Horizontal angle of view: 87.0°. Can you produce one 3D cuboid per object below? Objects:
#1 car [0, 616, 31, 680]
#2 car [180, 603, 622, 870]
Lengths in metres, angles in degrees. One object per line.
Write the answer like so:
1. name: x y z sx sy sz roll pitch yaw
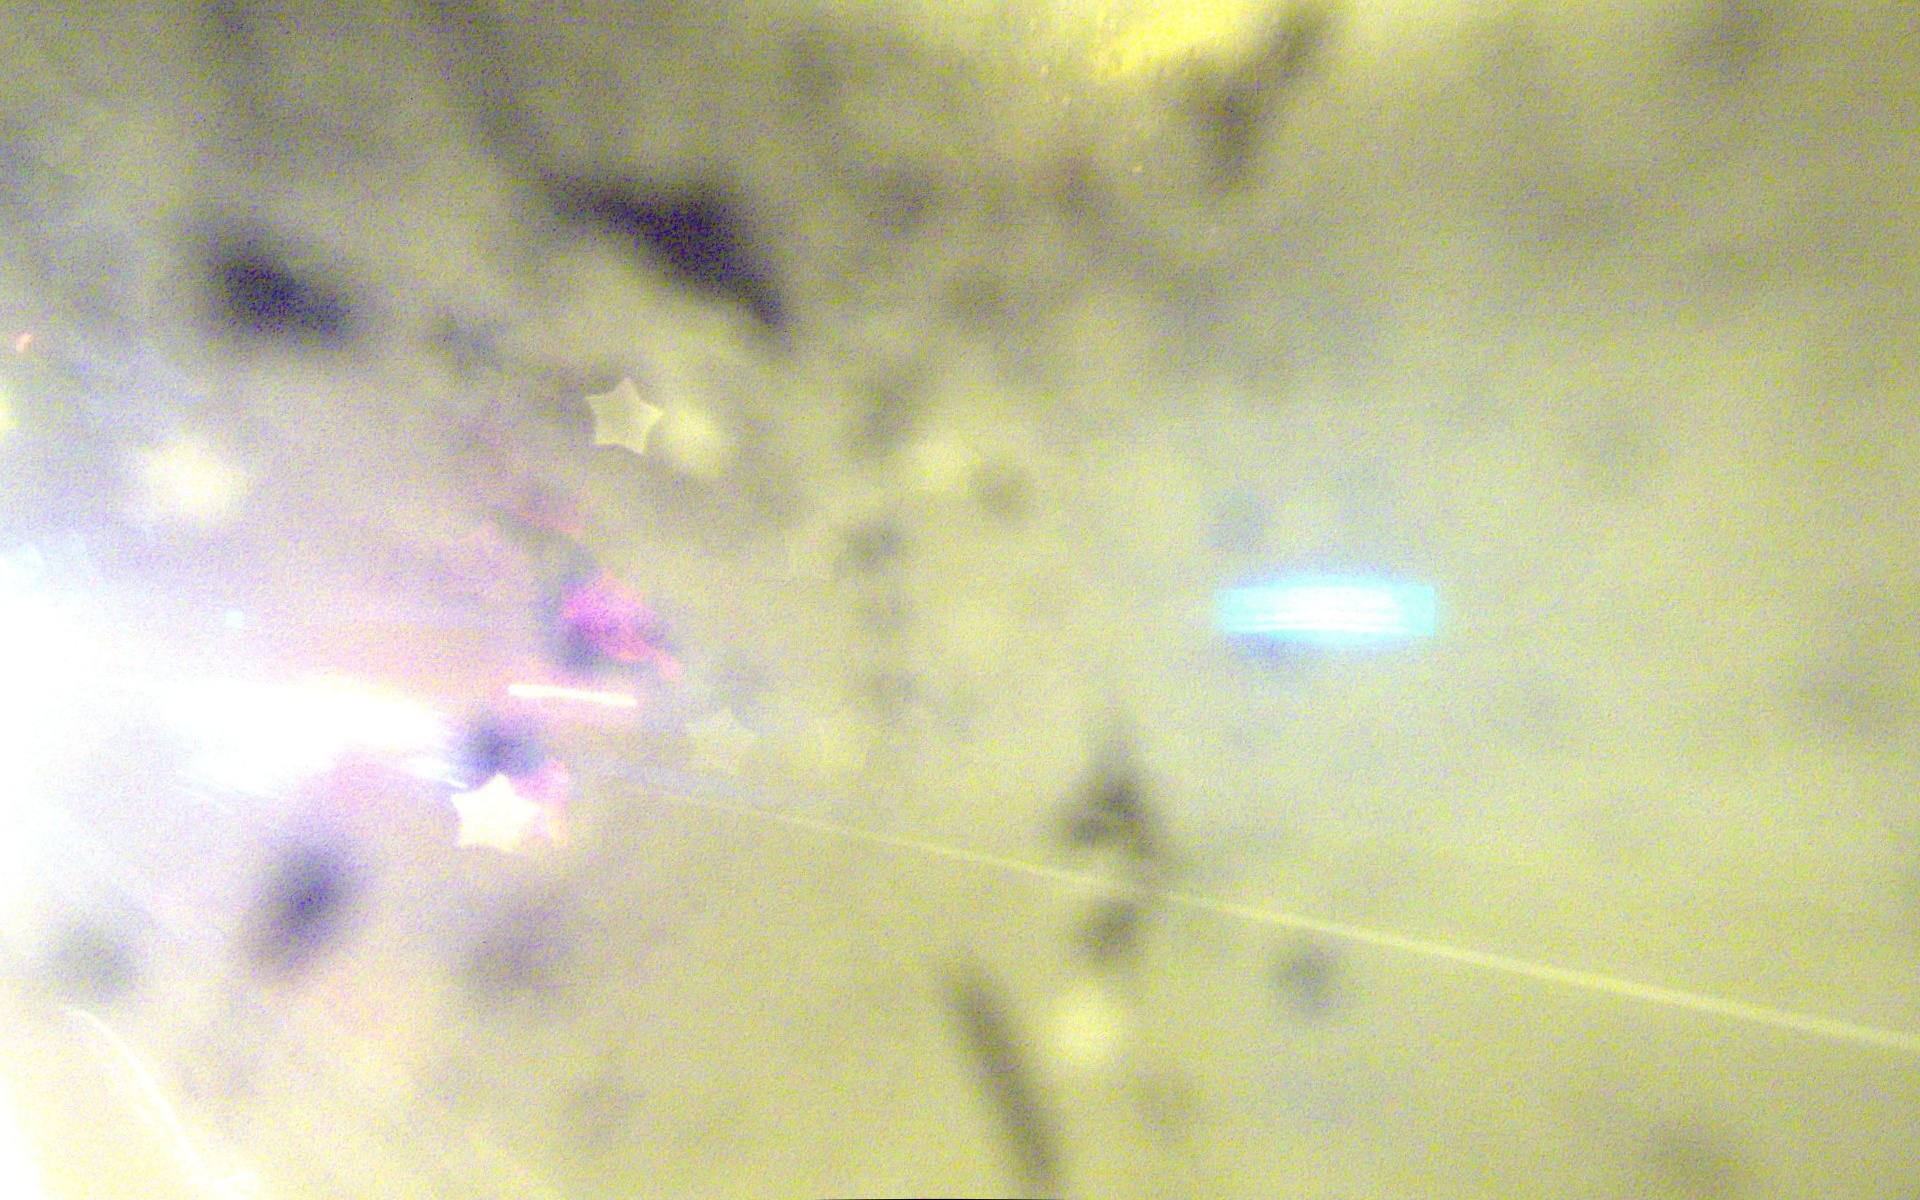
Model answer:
1. car: -25.282 1.235 26.005 3.871 1.567 1.683 -2 -1 41
2. car: -4.169 0.775 7.323 3.623 1.433 1.672 -1 -1 41
